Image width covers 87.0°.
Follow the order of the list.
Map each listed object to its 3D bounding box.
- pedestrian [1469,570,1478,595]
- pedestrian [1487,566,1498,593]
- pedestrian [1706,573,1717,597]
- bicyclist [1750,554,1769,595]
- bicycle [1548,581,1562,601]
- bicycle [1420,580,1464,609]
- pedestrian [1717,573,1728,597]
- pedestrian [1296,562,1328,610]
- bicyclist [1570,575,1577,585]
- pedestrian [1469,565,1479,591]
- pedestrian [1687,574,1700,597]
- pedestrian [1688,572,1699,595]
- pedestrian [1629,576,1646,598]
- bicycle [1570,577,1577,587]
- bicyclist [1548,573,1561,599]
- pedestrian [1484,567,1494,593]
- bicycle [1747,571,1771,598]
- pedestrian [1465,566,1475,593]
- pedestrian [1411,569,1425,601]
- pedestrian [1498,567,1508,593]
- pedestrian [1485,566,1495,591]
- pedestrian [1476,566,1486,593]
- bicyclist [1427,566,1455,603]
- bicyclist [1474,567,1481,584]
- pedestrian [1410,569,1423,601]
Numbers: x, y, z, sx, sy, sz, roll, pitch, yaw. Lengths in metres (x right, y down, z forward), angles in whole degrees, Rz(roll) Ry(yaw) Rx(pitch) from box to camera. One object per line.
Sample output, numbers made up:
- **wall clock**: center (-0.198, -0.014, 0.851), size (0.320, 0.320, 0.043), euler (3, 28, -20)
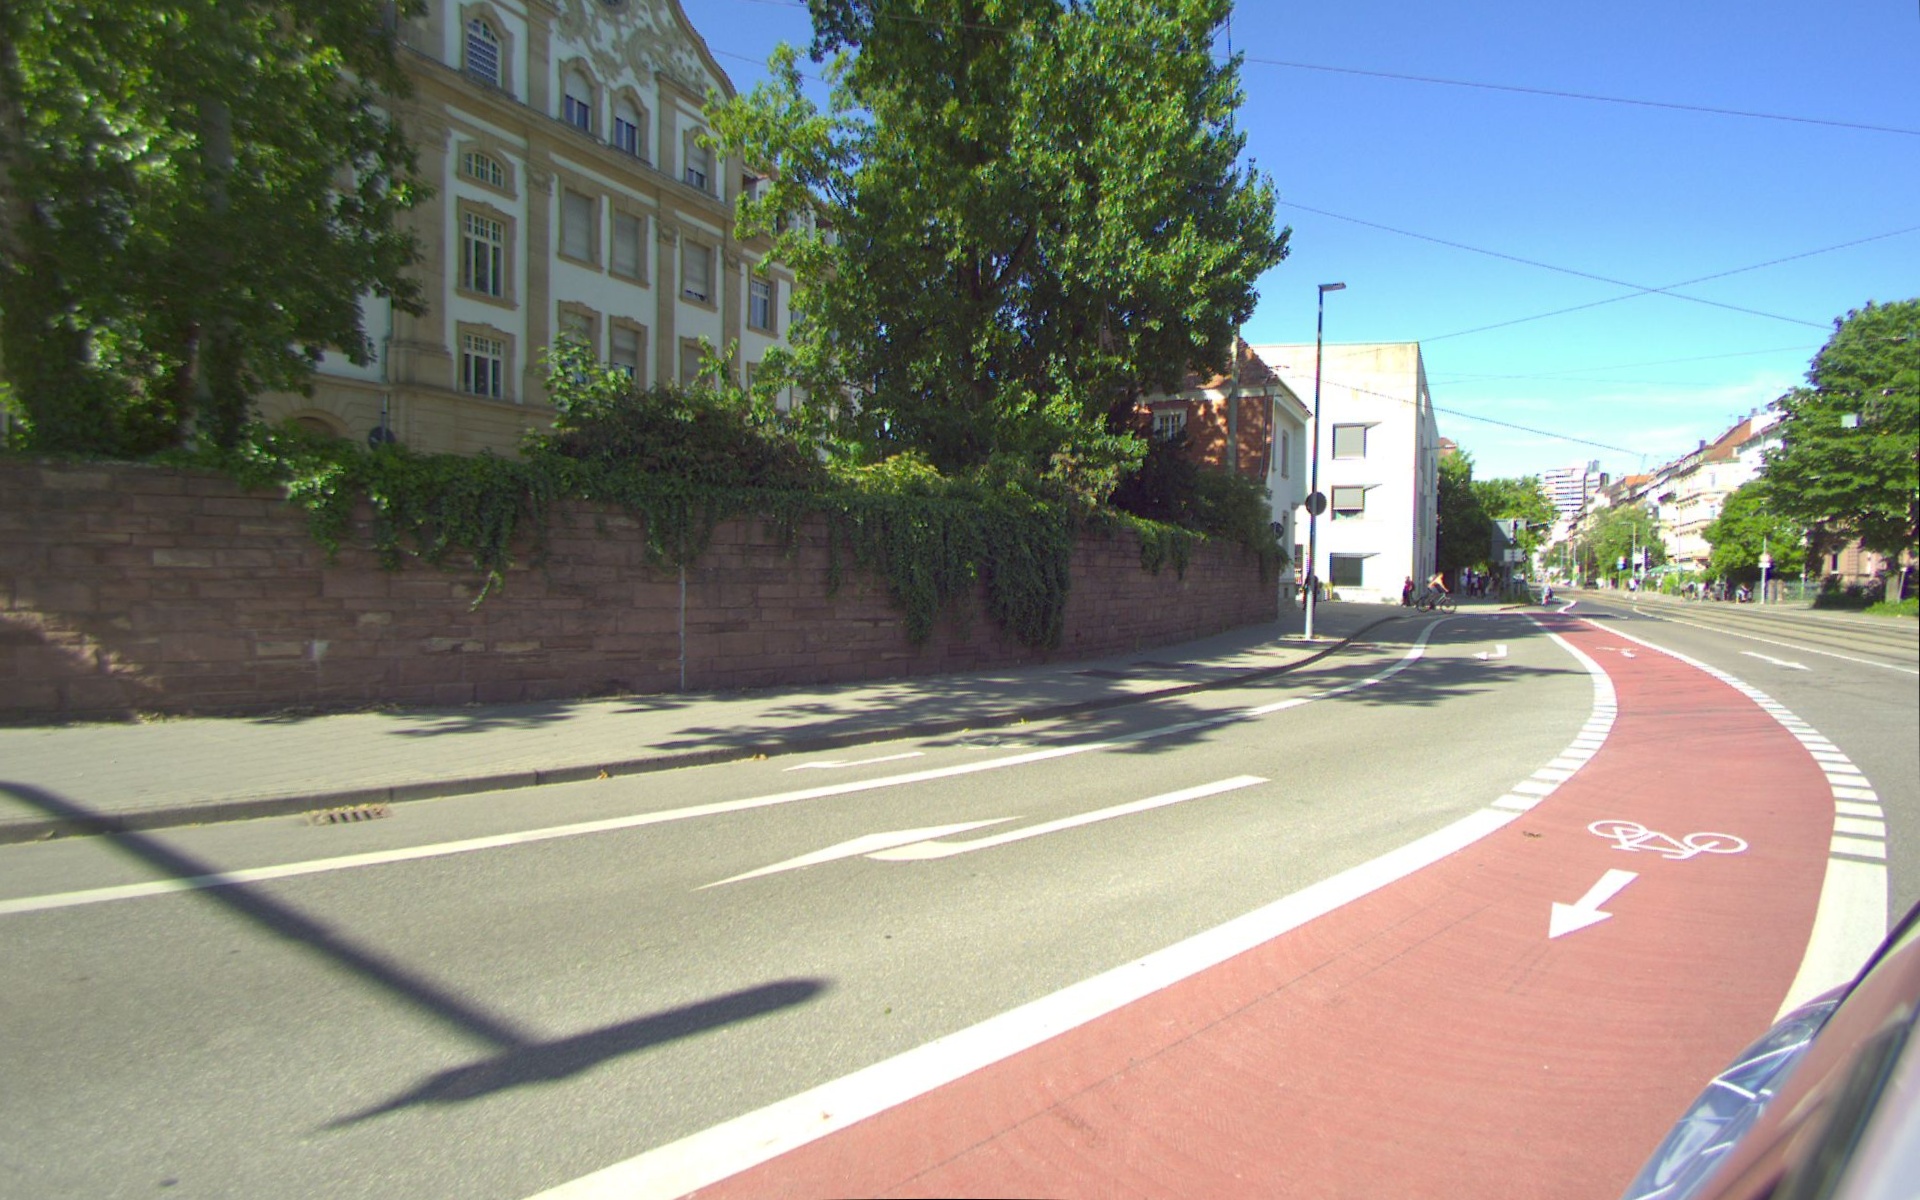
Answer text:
- **pedestrian**: center (37.368, -1.292, 73.659), size (0.582, 1.828, 0.540), euler (1, 1, 28)
- **pedestrian**: center (36.990, -1.440, 70.304), size (0.582, 1.828, 0.515), euler (1, 1, 28)
- **pedestrian**: center (60.259, -1.233, 81.101), size (0.574, 1.879, 0.678), euler (1, 2, 29)
- **bicyclist**: center (59.652, -1.902, 75.491), size (1.001, 3.012, 1.451), euler (0, 2, 45)
- **bicycle**: center (35.213, -0.548, 59.916), size (0.660, 1.166, 1.653), euler (0, 2, 32)
- **bicycle**: center (21.884, -0.265, 46.017), size (1.574, 1.165, 0.743), euler (4, 2, 10)
- **pedestrian**: center (60.853, -1.233, 80.807), size (0.574, 1.879, 0.678), euler (1, 2, 29)
- **pedestrian**: center (13.210, -0.537, 37.969), size (0.931, 1.698, 0.945), euler (4, 4, 27)
- **bicyclist**: center (109.646, -3.622, 180.840), size (0.994, 1.743, 0.975), euler (0, 2, 29)
- **pedestrian**: center (36.613, -1.549, 72.048), size (0.582, 1.828, 0.577), euler (1, 1, 28)
- **pedestrian**: center (61.442, -1.237, 84.784), size (0.723, 1.879, 0.647), euler (2, 2, 31)
- **pedestrian**: center (61.426, -1.385, 84.742), size (0.574, 1.879, 0.678), euler (1, 2, 29)
- **pedestrian**: center (55.007, -1.088, 82.126), size (0.916, 1.759, 0.677), euler (1, 1, 10)
- **bicycle**: center (109.657, -3.278, 180.850), size (0.994, 1.702, 2.956), euler (0, 2, 28)
- **bicyclist**: center (35.201, -0.833, 59.892), size (0.660, 1.479, 0.615), euler (0, 2, 32)
- **pedestrian**: center (37.479, -1.420, 71.710), size (0.582, 1.828, 0.577), euler (1, 1, 28)
- **bicycle**: center (59.599, -1.184, 75.455), size (1.001, 1.910, 3.832), euler (0, 2, 45)
- **pedestrian**: center (35.804, -1.449, 70.993), size (0.582, 1.828, 0.540), euler (1, 1, 28)
- **pedestrian**: center (23.220, -0.751, 51.291), size (0.513, 1.586, 0.532), euler (1, 1, 15)
- **pedestrian**: center (37.726, -1.399, 70.274), size (0.582, 1.749, 0.515), euler (1, 1, 28)
- **pedestrian**: center (38.314, -1.562, 73.171), size (0.582, 1.828, 0.540), euler (1, 1, 28)
- **pedestrian**: center (36.396, -1.447, 70.692), size (0.582, 1.828, 0.540), euler (1, 1, 28)
- **bicyclist**: center (21.851, -0.691, 46.017), size (0.866, 1.602, 0.743), euler (4, 2, 10)
- **bicyclist**: center (69.636, -3.283, 136.118), size (0.806, 2.234, 0.974), euler (0, 2, 30)
- **pedestrian**: center (23.379, -0.772, 51.860), size (0.513, 1.586, 0.532), euler (1, 1, 15)
